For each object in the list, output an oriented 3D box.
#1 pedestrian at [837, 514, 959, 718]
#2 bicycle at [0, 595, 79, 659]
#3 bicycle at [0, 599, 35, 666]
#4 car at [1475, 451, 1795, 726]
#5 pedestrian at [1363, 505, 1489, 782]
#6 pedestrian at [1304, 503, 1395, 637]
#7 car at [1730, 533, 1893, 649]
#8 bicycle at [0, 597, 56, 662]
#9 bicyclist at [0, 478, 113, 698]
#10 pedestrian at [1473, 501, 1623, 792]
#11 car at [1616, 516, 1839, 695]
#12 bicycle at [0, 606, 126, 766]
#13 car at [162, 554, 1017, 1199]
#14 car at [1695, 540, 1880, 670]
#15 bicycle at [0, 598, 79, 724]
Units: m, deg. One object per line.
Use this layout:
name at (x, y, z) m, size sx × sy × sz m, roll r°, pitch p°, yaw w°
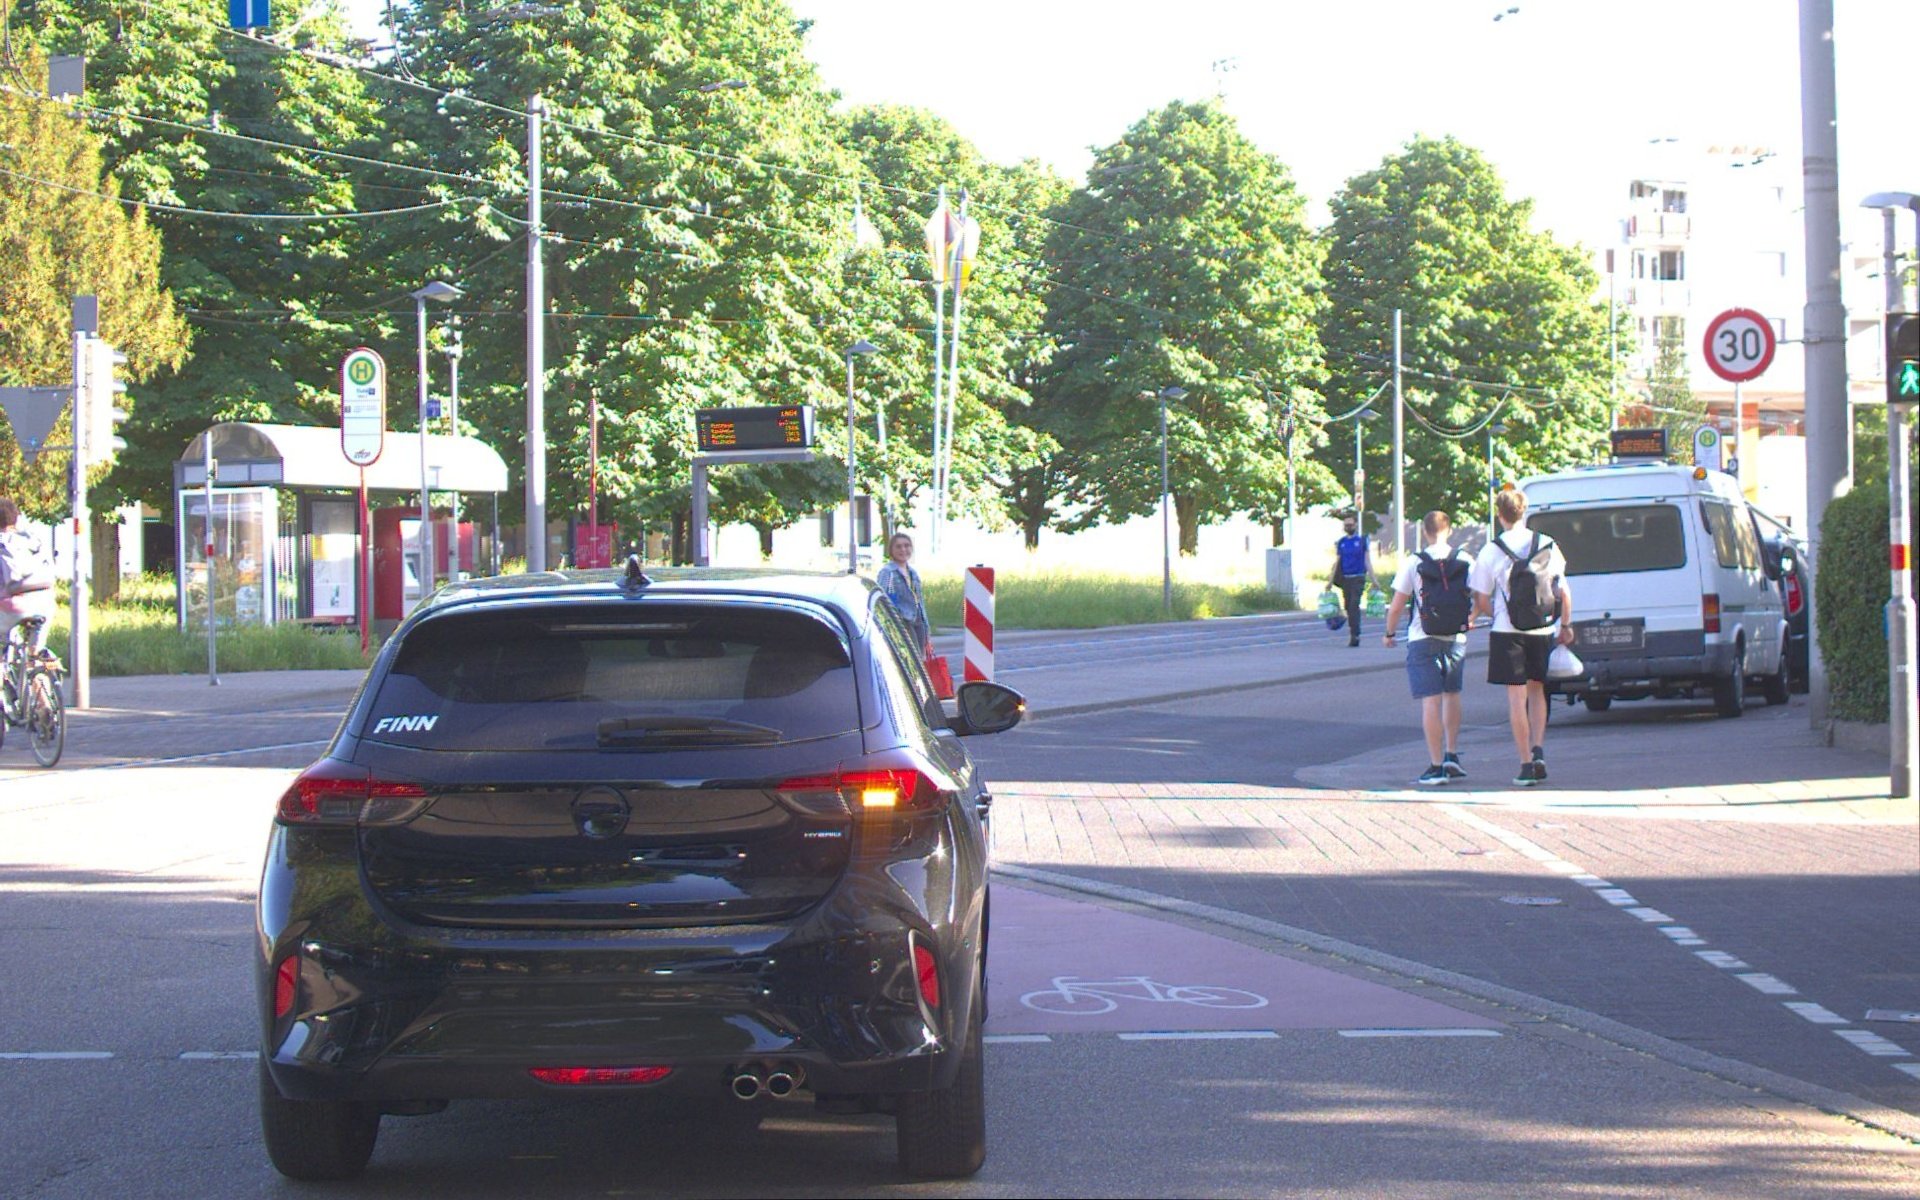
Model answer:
pedestrian at (-0.521, 0.126, 28.950) m, size 0.727 × 1.687 × 0.699 m, roll 0°, pitch 1°, yaw 37°
bicycle at (-13.715, 0.385, 49.472) m, size 1.877 × 0.903 × 0.659 m, roll 0°, pitch 1°, yaw 4°
bicycle at (-13.842, 0.451, 47.607) m, size 1.877 × 0.903 × 0.659 m, roll 0°, pitch 1°, yaw 4°
car at (6.115, -0.098, 30.770) m, size 2.092 × 2.270 × 4.301 m, roll 1°, pitch 0°, yaw 21°
pedestrian at (3.058, 0.276, 22.586) m, size 0.698 × 1.786 × 0.617 m, roll -1°, pitch 1°, yaw -4°
pedestrian at (5.249, -0.406, 46.298) m, size 0.959 × 1.786 × 0.994 m, roll 0°, pitch 1°, yaw 22°
car at (11.451, -0.145, 46.074) m, size 1.802 × 1.471 × 3.936 m, roll 0°, pitch 1°, yaw 18°
bicycle at (-13.809, 0.415, 48.595) m, size 1.877 × 0.903 × 0.659 m, roll 0°, pitch 1°, yaw 4°
bicyclist at (-6.683, -0.092, 24.302) m, size 0.840 × 1.504 × 1.368 m, roll -1°, pitch 1°, yaw -39°
pedestrian at (3.806, 0.289, 22.257) m, size 0.704 × 1.840 × 0.699 m, roll 0°, pitch 1°, yaw 36°
car at (8.070, 0.021, 35.925) m, size 1.802 × 1.757 × 3.887 m, roll 0°, pitch 1°, yaw 20°
bicycle at (-6.675, 0.584, 24.309) m, size 0.667 × 1.056 × 2.081 m, roll -1°, pitch 1°, yaw -39°
car at (-0.787, 0.608, 9.273) m, size 1.800 × 1.436 × 3.940 m, roll -1°, pitch 1°, yaw 0°
car at (9.925, 0.025, 41.063) m, size 1.802 × 1.471 × 3.936 m, roll 0°, pitch 1°, yaw 18°
bicycle at (-8.500, 0.531, 30.653) m, size 0.825 × 1.056 × 1.883 m, roll 0°, pitch 1°, yaw -1°
